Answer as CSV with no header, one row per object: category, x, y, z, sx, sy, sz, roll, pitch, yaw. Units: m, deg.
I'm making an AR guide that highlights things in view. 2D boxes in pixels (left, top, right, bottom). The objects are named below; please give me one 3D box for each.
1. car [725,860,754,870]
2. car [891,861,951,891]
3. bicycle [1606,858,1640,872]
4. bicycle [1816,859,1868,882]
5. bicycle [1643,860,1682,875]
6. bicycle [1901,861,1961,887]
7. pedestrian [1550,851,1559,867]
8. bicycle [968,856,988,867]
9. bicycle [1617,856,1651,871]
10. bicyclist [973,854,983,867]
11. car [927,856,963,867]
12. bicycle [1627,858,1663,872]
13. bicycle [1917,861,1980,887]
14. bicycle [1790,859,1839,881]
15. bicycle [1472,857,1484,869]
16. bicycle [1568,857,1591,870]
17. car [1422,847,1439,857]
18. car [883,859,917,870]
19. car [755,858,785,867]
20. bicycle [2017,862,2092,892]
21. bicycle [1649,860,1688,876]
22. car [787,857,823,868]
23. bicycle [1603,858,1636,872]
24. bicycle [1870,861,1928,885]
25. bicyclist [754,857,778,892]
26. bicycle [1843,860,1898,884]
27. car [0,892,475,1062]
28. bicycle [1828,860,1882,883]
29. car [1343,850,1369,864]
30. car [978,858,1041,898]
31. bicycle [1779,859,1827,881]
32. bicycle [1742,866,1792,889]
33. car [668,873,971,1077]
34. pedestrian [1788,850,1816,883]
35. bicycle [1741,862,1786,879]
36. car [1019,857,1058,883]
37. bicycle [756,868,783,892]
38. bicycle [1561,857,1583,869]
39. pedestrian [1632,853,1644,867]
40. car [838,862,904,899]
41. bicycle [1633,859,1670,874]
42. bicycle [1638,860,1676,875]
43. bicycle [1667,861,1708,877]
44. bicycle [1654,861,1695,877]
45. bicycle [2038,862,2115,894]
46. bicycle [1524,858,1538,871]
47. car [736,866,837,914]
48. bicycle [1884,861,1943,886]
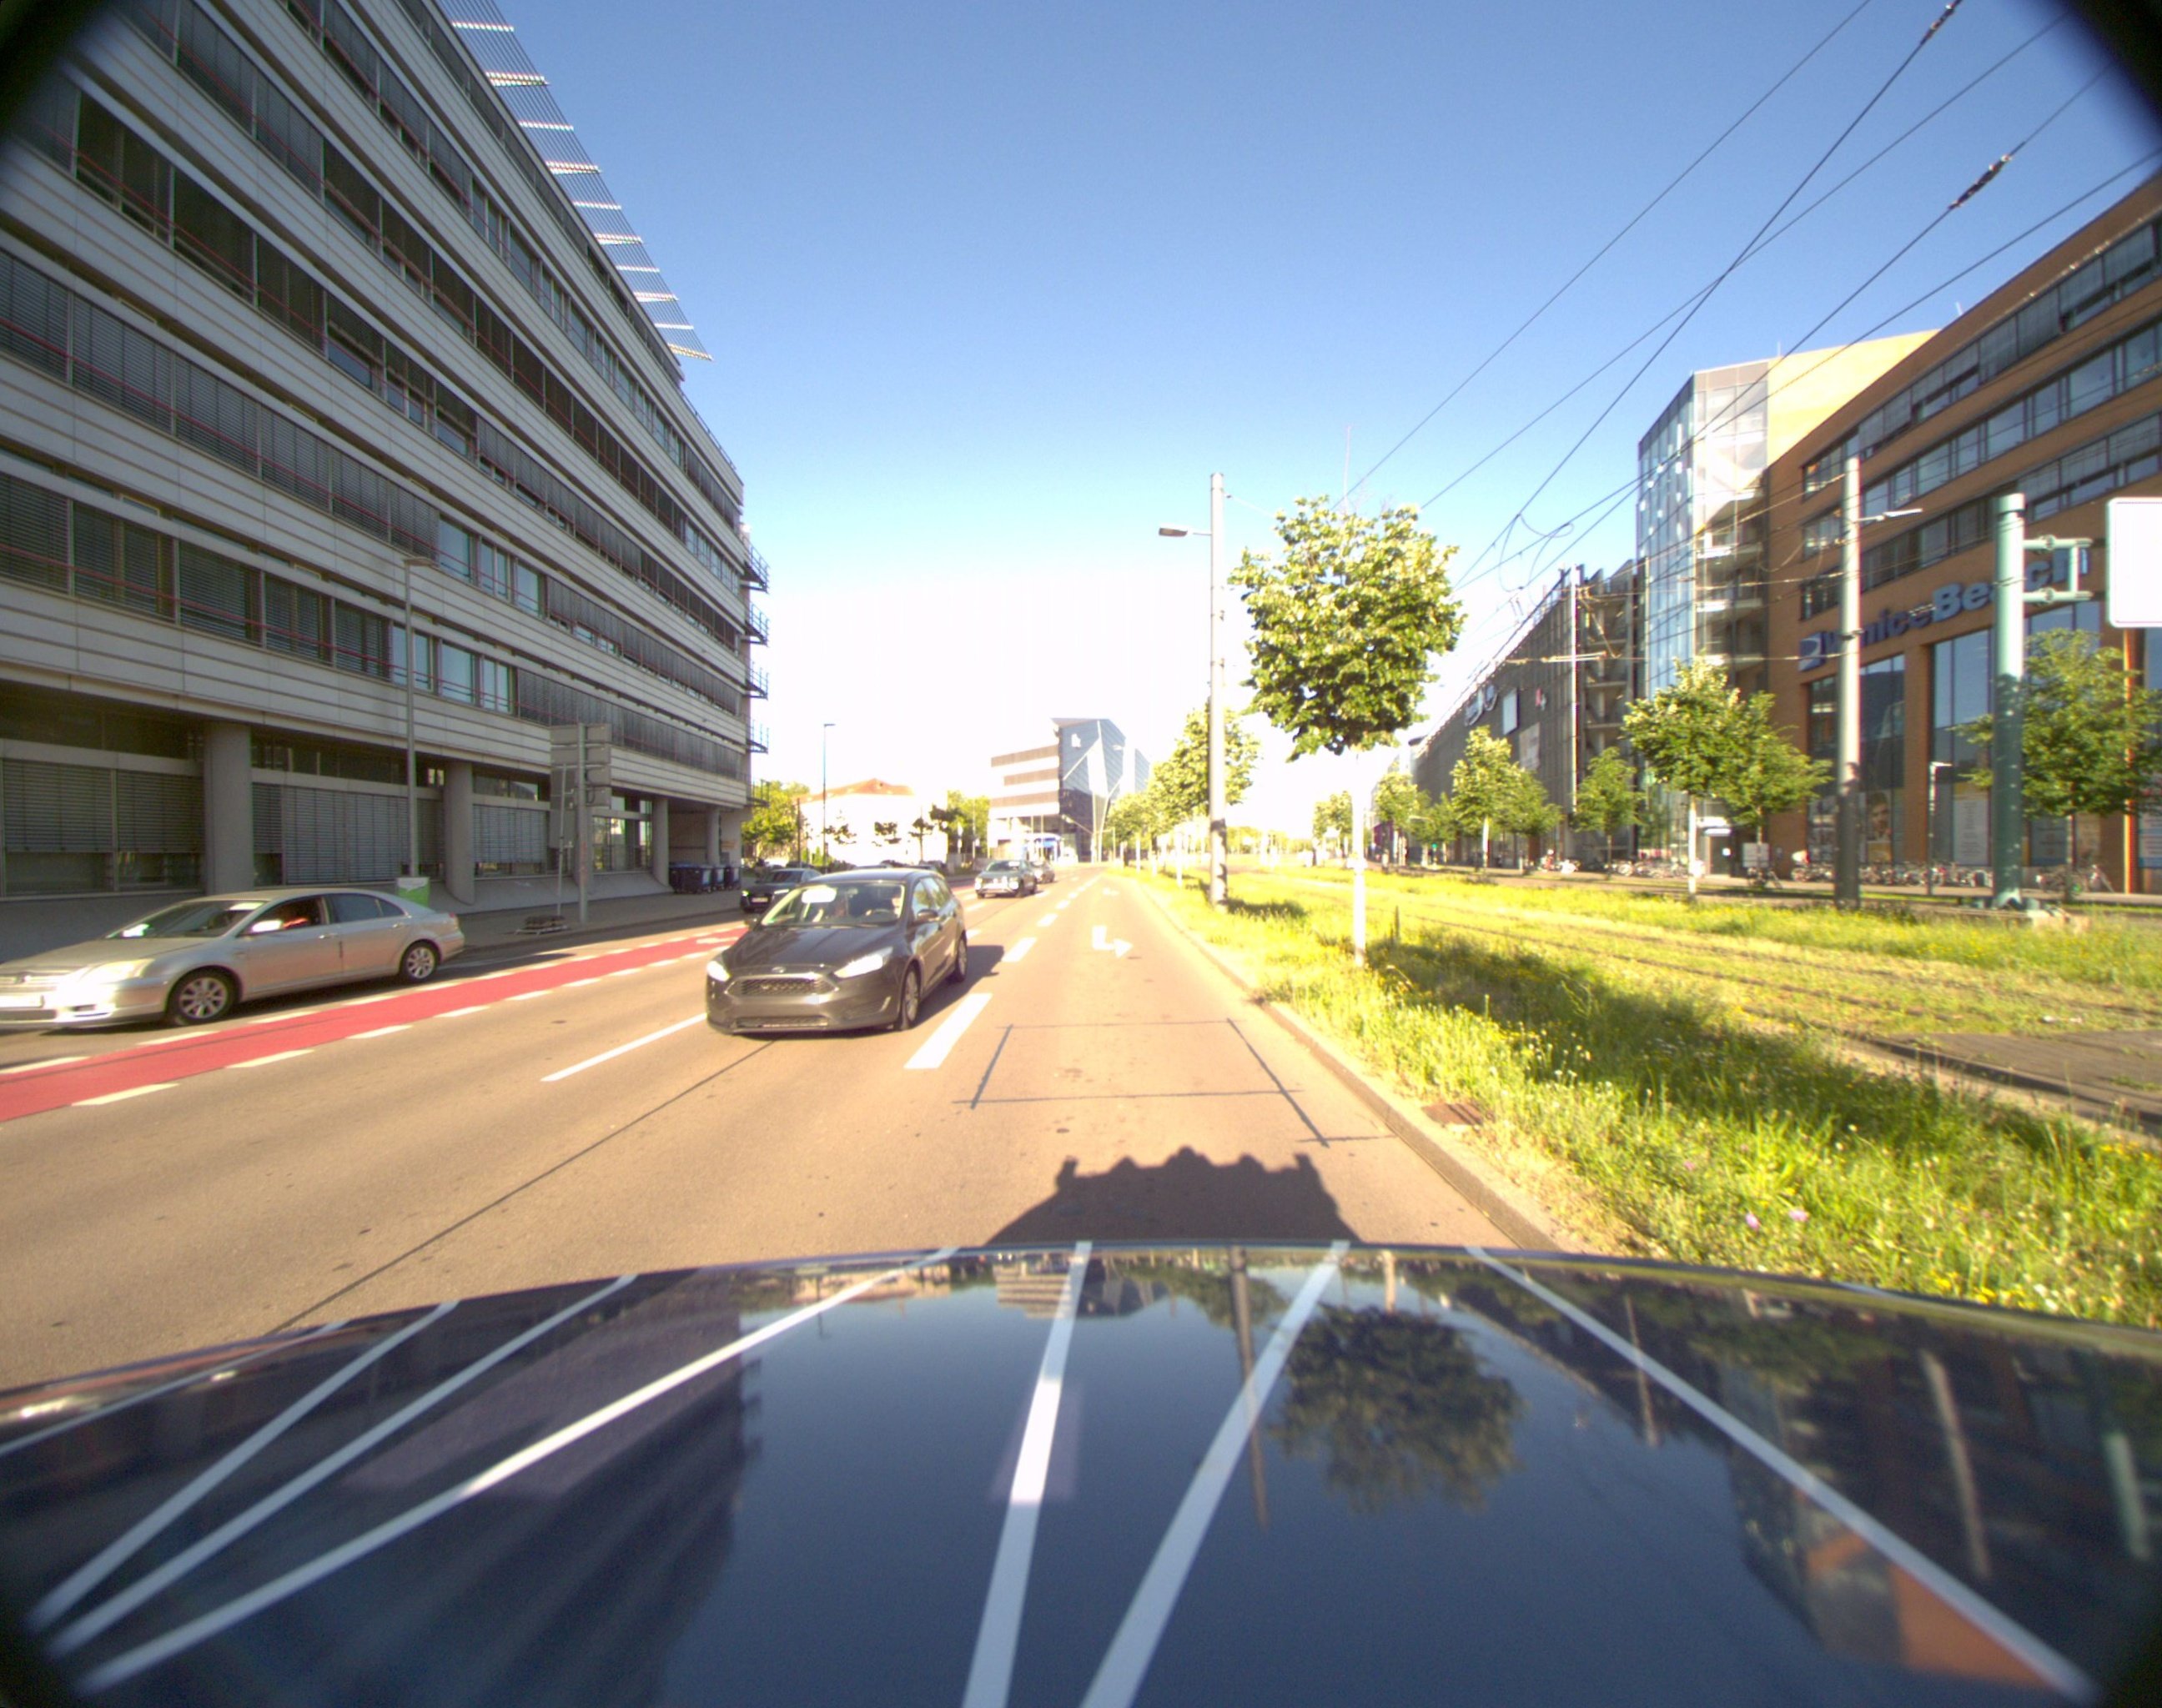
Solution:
car,-51.980,1.659,115.667,3.990,1.368,1.938,-1,1,27
car,-8.296,1.148,39.763,1.437,1.437,4.005,1,-1,13
bicycle,36.477,0.735,51.120,1.768,0.921,0.565,-1,1,17
bicycle,35.504,0.788,35.469,1.769,1.043,0.491,-1,1,8
bicycle,35.102,0.825,45.872,1.768,0.921,0.565,-1,1,17
bicycle,35.069,0.836,31.360,1.769,1.043,0.491,-1,1,8
pedestrian,38.398,0.387,61.637,0.448,1.282,0.630,-1,1,13
bicycle,-13.291,0.971,98.045,2.368,1.304,0.952,-1,1,13
bicycle,36.320,0.627,49.914,1.768,0.921,0.491,-1,1,17
bicyclist,-13.305,0.813,98.060,1.006,1.598,0.880,-1,1,14
car,-18.290,1.035,102.310,4.285,1.414,2.003,-1,1,20
bicycle,36.013,0.704,48.514,1.768,0.921,0.491,-1,1,17
bicycle,34.995,0.812,30.670,1.769,1.043,0.491,-1,1,8
bicycle,35.704,0.790,36.985,1.769,1.043,0.491,-1,1,8
bicycle,31.589,0.703,60.435,0.386,0.918,1.773,-1,1,13
bicycle,37.658,0.701,57.378,1.398,0.921,0.462,-1,1,17
car,54.253,-0.304,118.075,1.582,1.521,3.754,-2,1,13
car,-24.898,1.498,104.481,3.991,1.414,2.003,-1,1,20
car,-46.256,1.248,112.964,3.990,1.237,2.003,-1,1,26
bicycle,34.117,0.810,26.647,1.769,1.043,0.491,-1,1,8
bicycle,34.889,0.839,45.132,1.768,0.921,0.565,-1,1,17
car,-39.853,1.230,109.758,4.516,1.414,2.002,-1,1,17
bicycle,36.686,0.722,51.772,1.768,0.921,0.491,-1,1,17
bicycle,35.247,0.819,32.746,1.769,1.043,0.491,-1,1,8
bicyclist,-14.834,0.967,35.802,0.685,1.609,0.991,-1,1,2
bicycle,35.367,0.804,34.038,1.769,1.043,0.491,-1,1,8
car,-10.492,1.335,9.762,1.755,1.423,4.488,-1,0,1
bicycle,35.423,0.796,34.785,1.769,1.043,0.491,-1,1,8
car,25.909,0.257,71.708,1.809,1.320,4.409,0,1,13
car,-2.838,0.930,30.909,1.748,1.496,3.882,-1,0,7
bicycle,35.803,0.781,37.668,1.769,1.043,0.491,-1,1,8
bicycle,28.070,0.942,31.123,0.464,0.863,1.771,-1,0,1
car,-2.339,0.999,8.006,1.690,1.425,4.153,-2,0,0
pedestrian,36.380,0.611,38.340,0.746,1.659,0.676,-1,1,7
bicycle,37.416,0.902,41.668,1.768,0.921,0.565,-1,1,17
car,-2.550,0.920,46.148,1.619,1.421,3.769,-2,1,7
bicycle,-14.723,1.228,35.930,0.505,1.052,1.702,2,1,2
bicycle,37.967,0.679,58.768,1.398,0.921,0.462,-1,1,17
pedestrian,40.743,0.455,55.580,0.629,1.048,0.450,-1,1,13
car,-9.270,1.133,33.884,1.735,1.437,4.000,-2,1,1
bicycle,35.456,0.802,47.259,1.768,0.921,0.565,-1,1,17
bicycle,35.257,0.814,46.553,1.768,0.921,0.565,-1,1,17
bicycle,34.535,0.866,43.293,1.768,0.921,0.565,-1,1,17
bicycle,34.614,0.855,44.324,1.768,0.921,0.565,-1,1,17
bicycle,34.054,0.818,26.008,1.769,1.043,0.491,-1,1,8
bicycle,32.667,0.755,55.155,0.386,0.863,1.773,-1,1,13
car,-9.901,1.190,25.910,1.714,1.432,4.112,-3,-1,1
bicycle,35.161,0.827,32.090,1.769,1.043,0.491,-1,1,8
